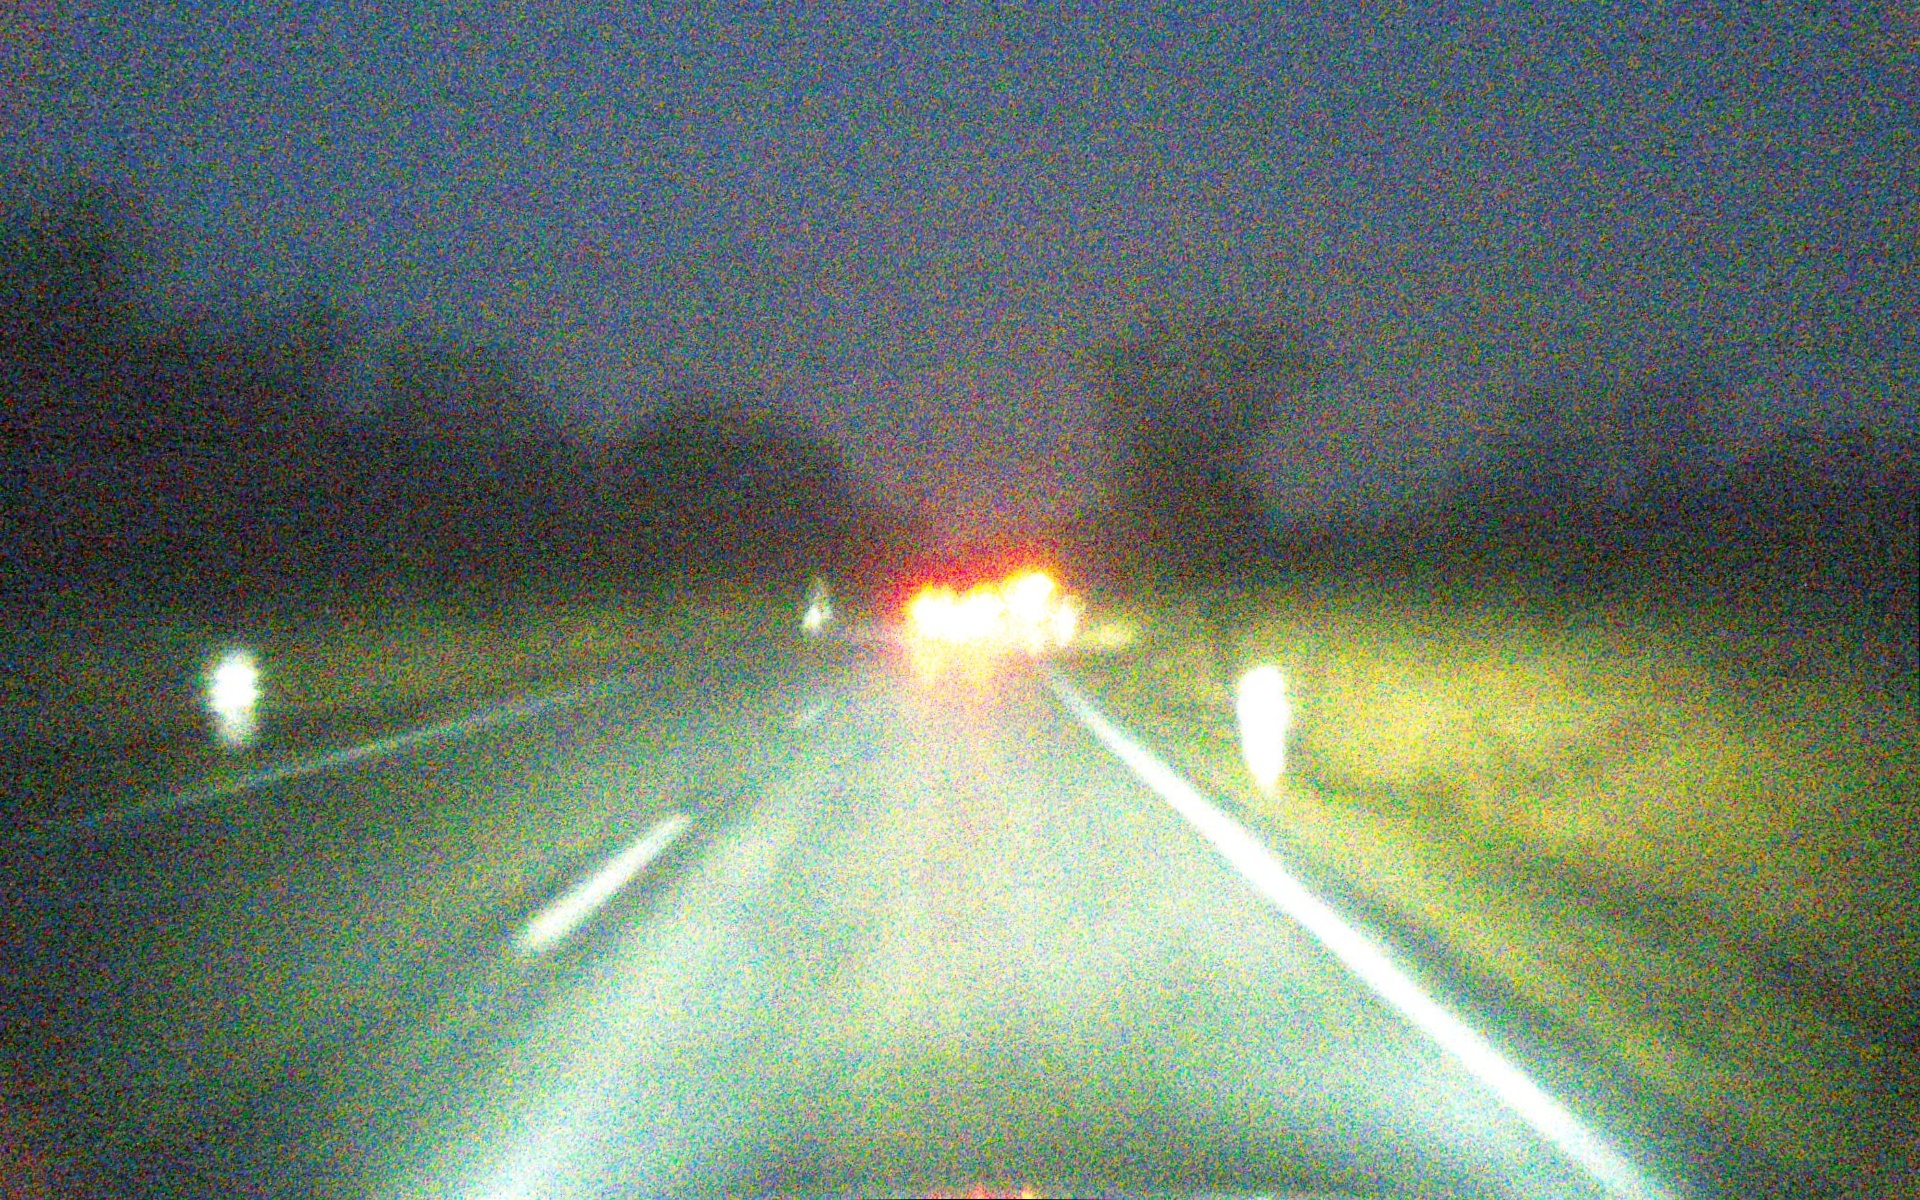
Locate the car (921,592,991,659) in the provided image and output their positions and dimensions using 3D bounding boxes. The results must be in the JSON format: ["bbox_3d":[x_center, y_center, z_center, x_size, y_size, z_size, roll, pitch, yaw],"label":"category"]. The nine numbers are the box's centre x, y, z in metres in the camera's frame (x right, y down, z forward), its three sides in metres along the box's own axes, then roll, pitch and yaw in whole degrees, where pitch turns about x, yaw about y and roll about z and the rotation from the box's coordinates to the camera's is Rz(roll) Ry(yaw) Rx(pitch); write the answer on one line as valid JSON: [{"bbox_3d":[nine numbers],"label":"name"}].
[{"bbox_3d":[-0.076,0.662,46.030,1.804,1.771,4.001,0,0,2],"label":"car"}]
